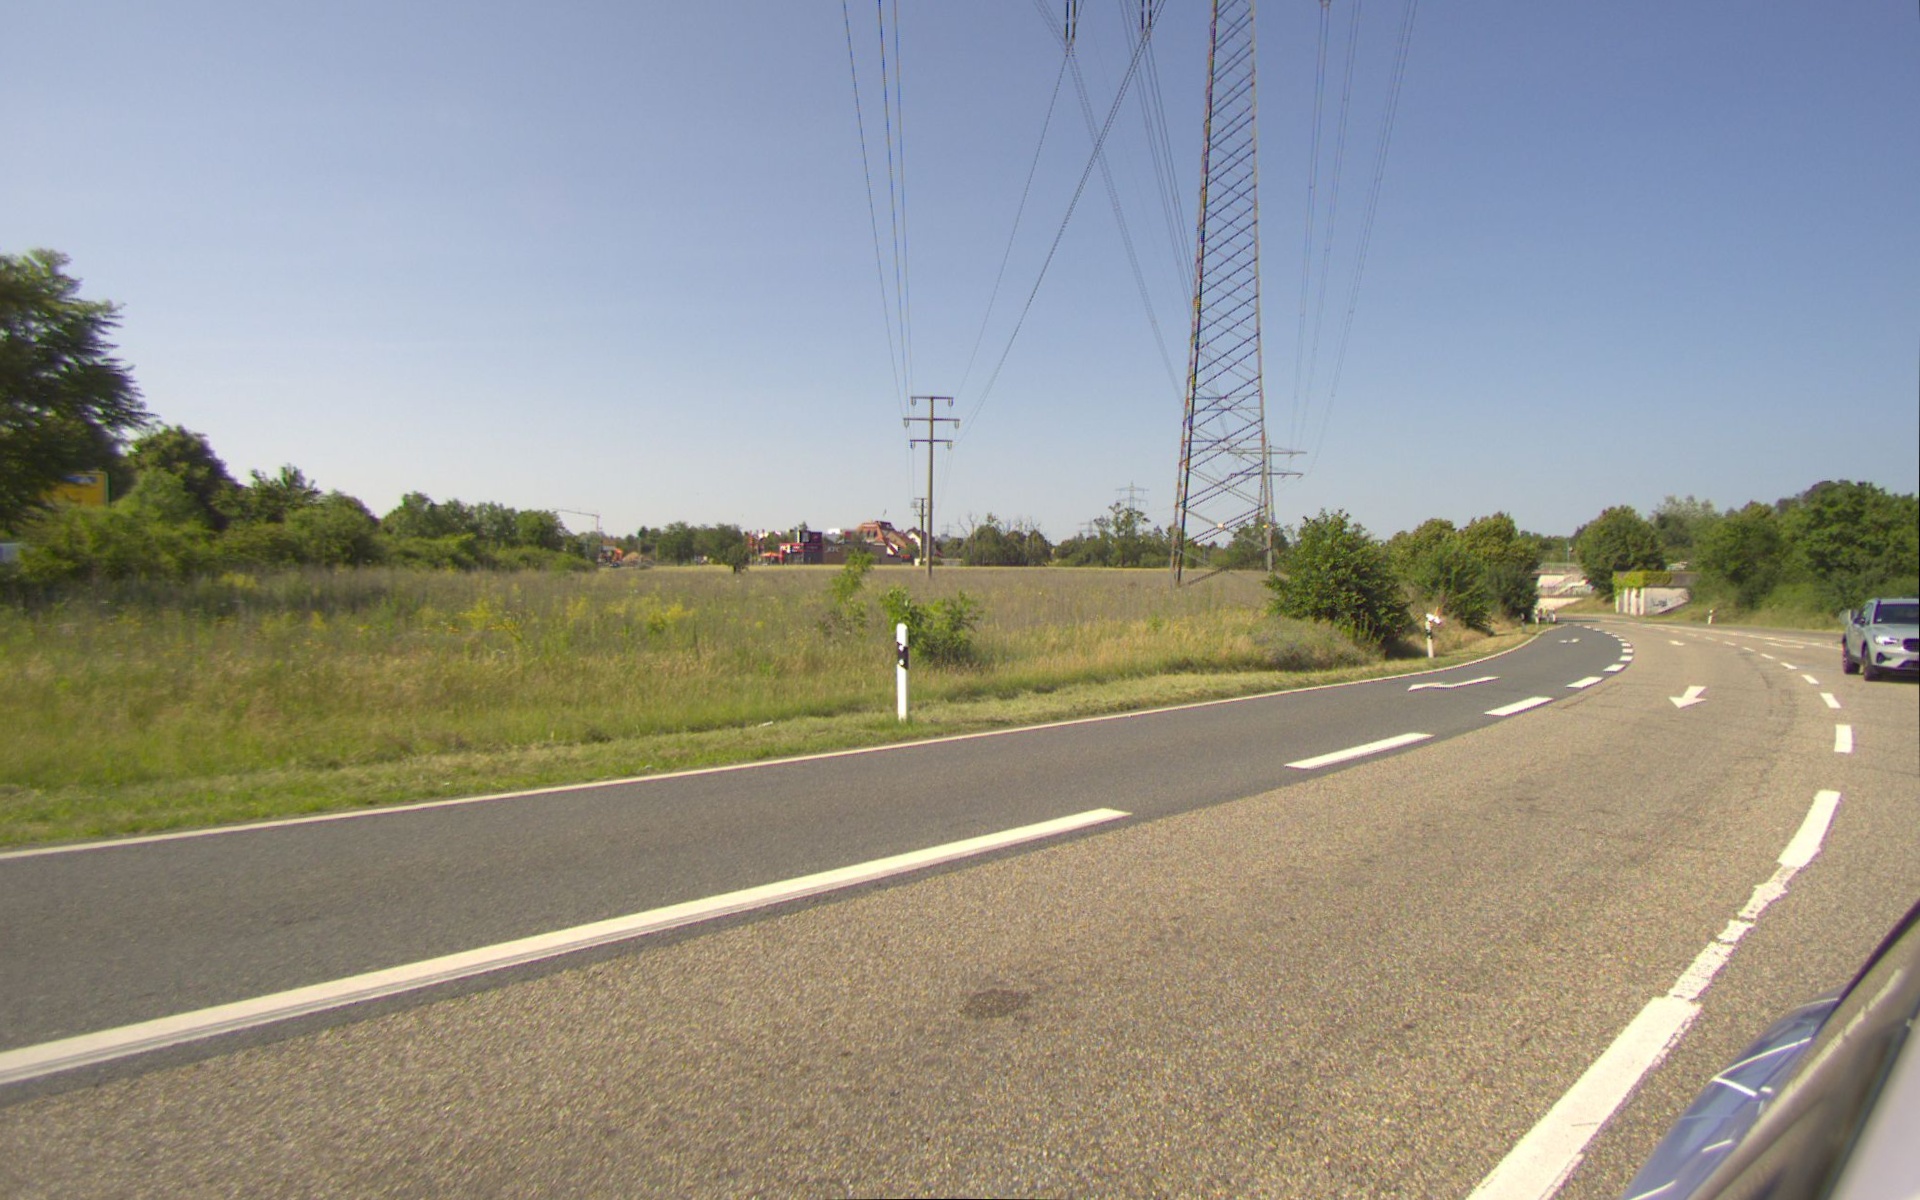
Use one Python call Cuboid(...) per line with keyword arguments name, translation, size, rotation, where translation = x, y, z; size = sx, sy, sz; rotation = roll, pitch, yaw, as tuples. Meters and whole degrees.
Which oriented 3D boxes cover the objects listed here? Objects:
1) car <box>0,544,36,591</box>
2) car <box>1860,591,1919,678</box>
Cuboid(name="car", translation=(-51.818, -1.747, 54.368), size=(1.431, 2.467, 3.913), rotation=(0, 0, -12))
Cuboid(name="car", translation=(19.313, 0.655, 20.098), size=(1.850, 1.640, 3.598), rotation=(0, 0, 37))
